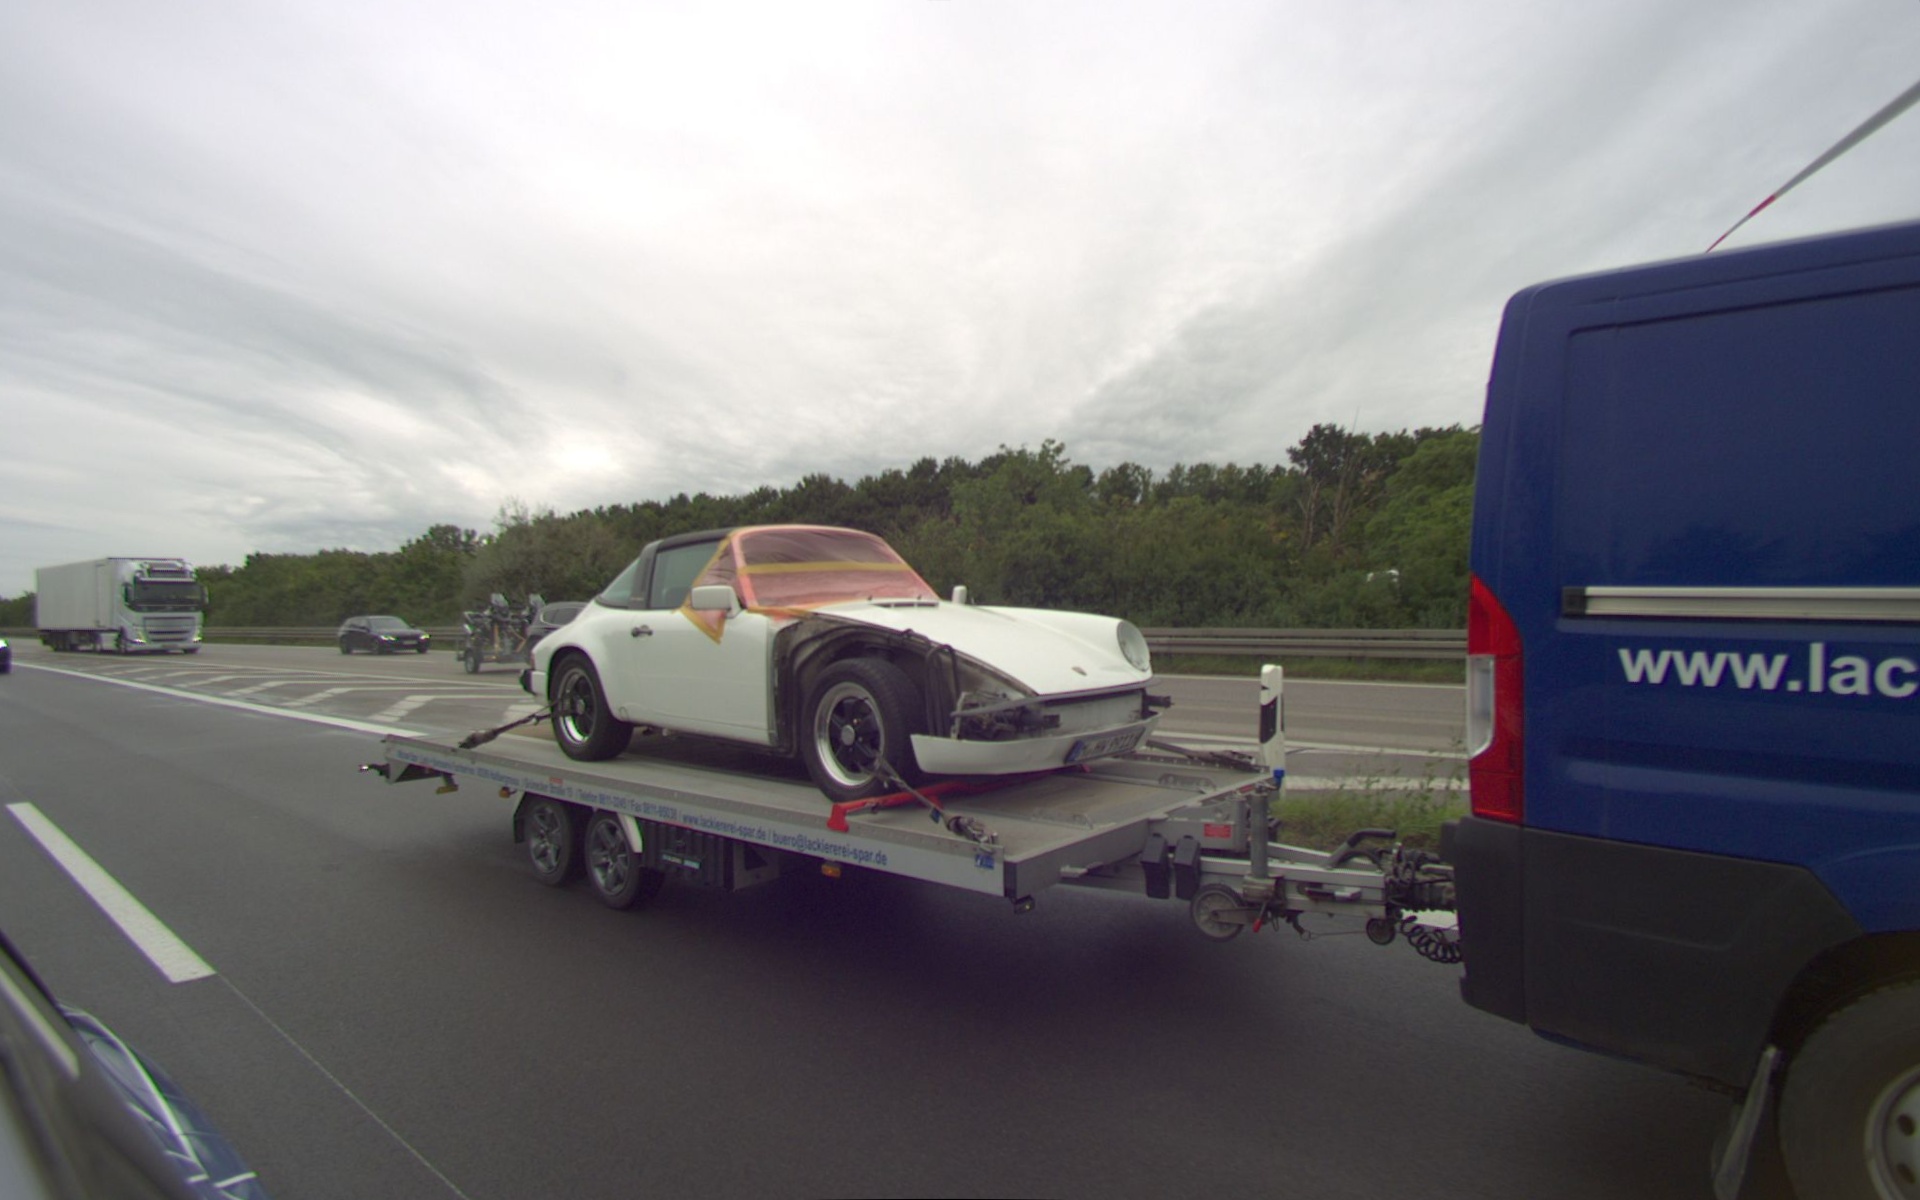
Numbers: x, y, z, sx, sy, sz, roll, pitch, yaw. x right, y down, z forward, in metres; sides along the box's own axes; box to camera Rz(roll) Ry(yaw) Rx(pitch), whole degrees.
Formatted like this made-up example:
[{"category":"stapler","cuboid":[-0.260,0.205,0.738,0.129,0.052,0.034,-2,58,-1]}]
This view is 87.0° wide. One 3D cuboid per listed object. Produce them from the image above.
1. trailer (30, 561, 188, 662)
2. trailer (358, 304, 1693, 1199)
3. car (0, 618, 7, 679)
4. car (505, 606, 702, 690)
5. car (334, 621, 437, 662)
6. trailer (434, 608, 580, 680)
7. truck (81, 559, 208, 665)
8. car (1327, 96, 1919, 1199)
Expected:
[{"category":"trailer","cuboid":[-39.863,0.570,47.103,13.932,4.166,2.740,-1,1,38]},{"category":"trailer","cuboid":[-0.556,0.416,5.409,7.059,2.009,2.459,-1,0,41]},{"category":"car","cuboid":[-28.321,1.362,28.334,4.552,1.650,1.941,-1,0,41]},{"category":"car","cuboid":[-7.993,0.989,22.470,4.801,1.638,1.864,-1,0,39]},{"category":"car","cuboid":[-22.004,1.536,38.712,4.769,1.402,1.786,-1,0,39]},{"category":"trailer","cuboid":[-11.247,1.033,25.069,3.606,1.638,1.864,-1,0,38]},{"category":"truck","cuboid":[-34.745,0.497,43.061,6.436,4.166,2.740,-1,1,38]},{"category":"car","cuboid":[4.084,0.153,1.437,6.253,2.283,2.348,-1,0,41]}]
